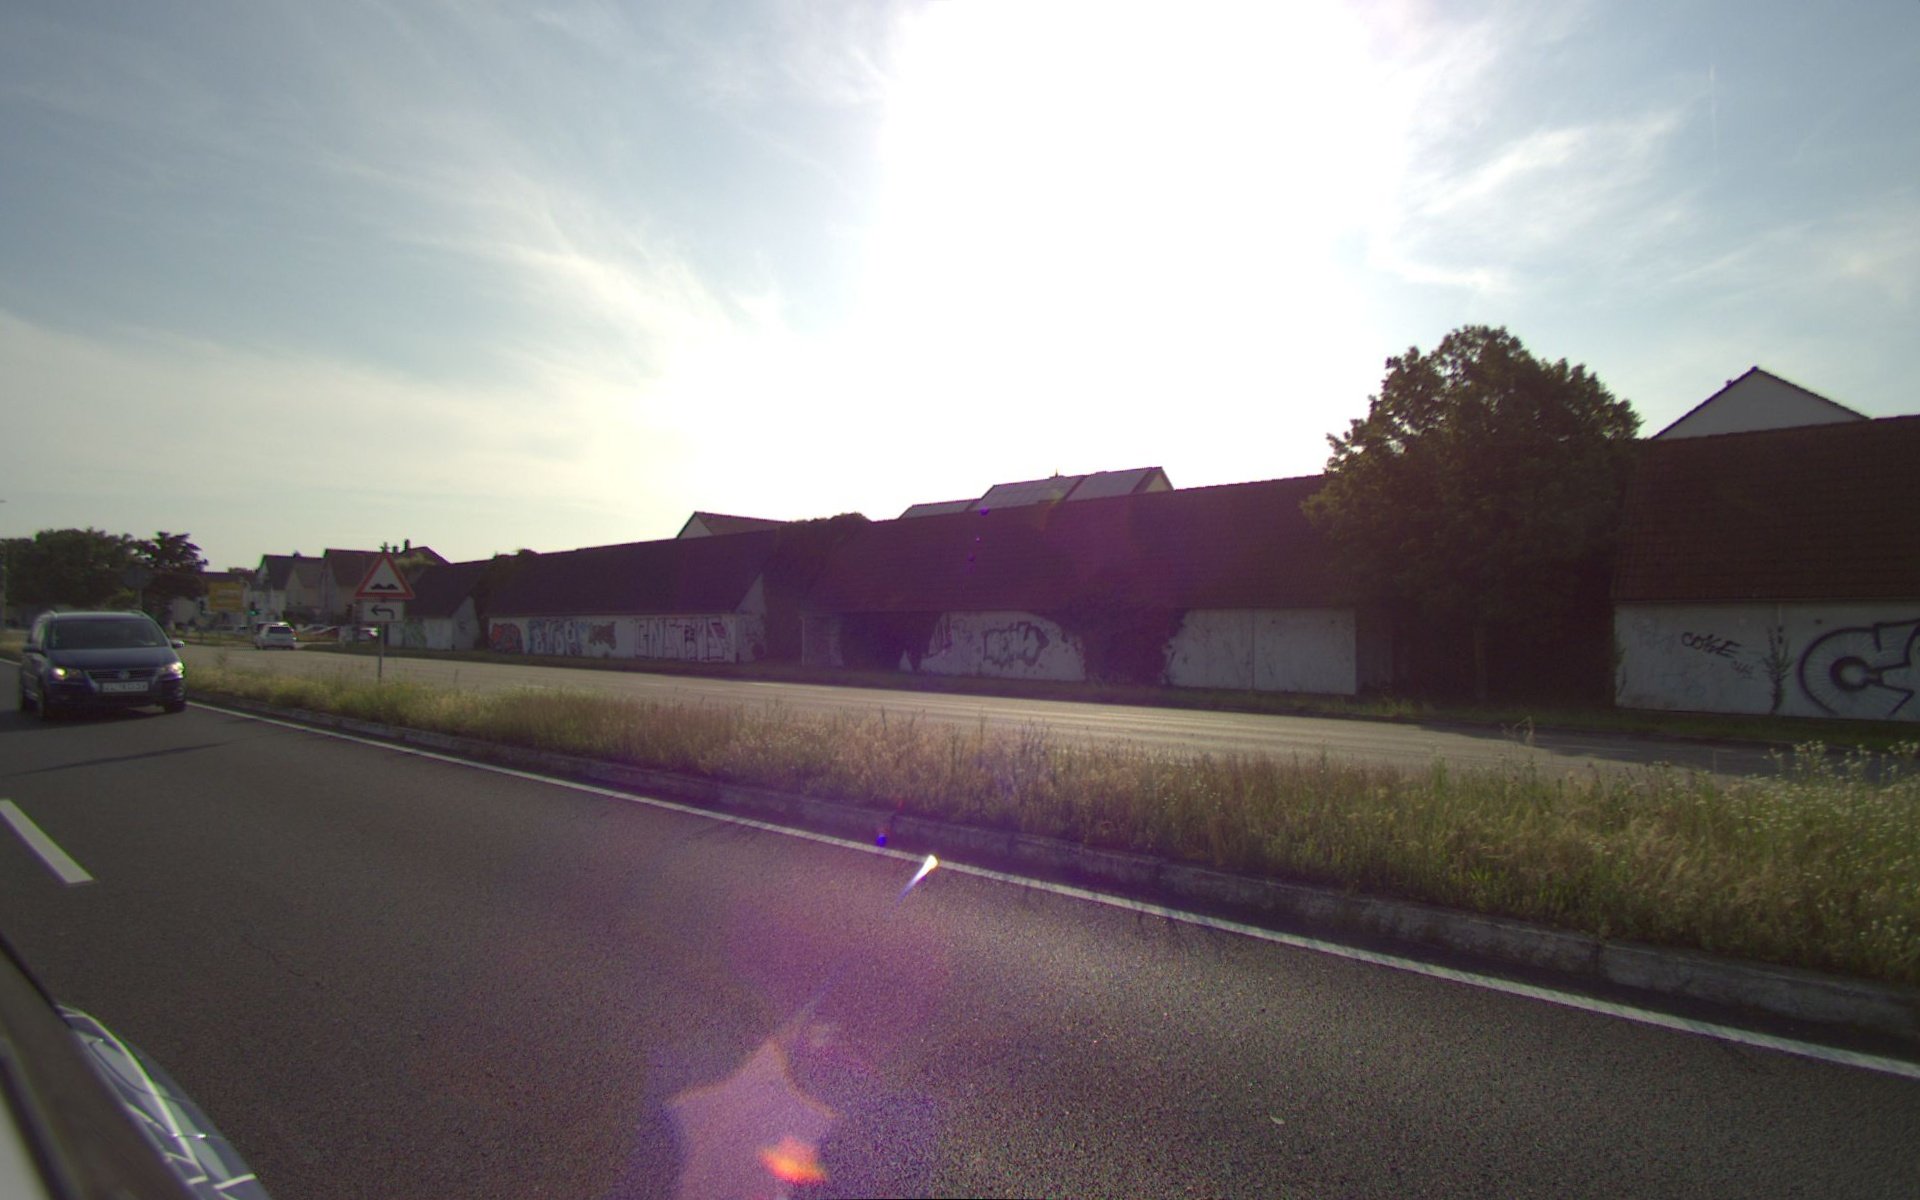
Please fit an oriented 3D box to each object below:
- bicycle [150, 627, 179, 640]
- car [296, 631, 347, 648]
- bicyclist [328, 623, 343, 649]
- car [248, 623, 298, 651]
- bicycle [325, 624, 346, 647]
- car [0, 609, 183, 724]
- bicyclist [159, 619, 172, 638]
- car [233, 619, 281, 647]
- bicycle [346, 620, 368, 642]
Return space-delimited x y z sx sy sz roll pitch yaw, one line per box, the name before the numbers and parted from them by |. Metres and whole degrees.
bicycle | -76.945 3.205 97.849 2.128 1.201 0.905 3 -2 -40
car | -63.858 3.939 101.283 1.758 1.575 3.943 0 -4 42
bicyclist | -49.751 2.829 80.579 1.062 2.029 0.762 -1 0 42
car | -45.890 2.448 67.534 1.815 1.720 4.760 5 -4 -45
bicycle | -49.712 2.836 80.545 2.607 1.762 0.745 0 0 42
car | -14.400 0.976 16.682 4.681 1.633 1.753 0 -1 43
bicyclist | -76.890 2.731 97.898 0.844 1.800 0.848 5 -3 -40
car | -53.622 2.511 77.143 5.455 1.942 1.886 0 -4 44
bicycle | -48.417 2.465 81.262 2.607 1.762 0.745 0 0 42
